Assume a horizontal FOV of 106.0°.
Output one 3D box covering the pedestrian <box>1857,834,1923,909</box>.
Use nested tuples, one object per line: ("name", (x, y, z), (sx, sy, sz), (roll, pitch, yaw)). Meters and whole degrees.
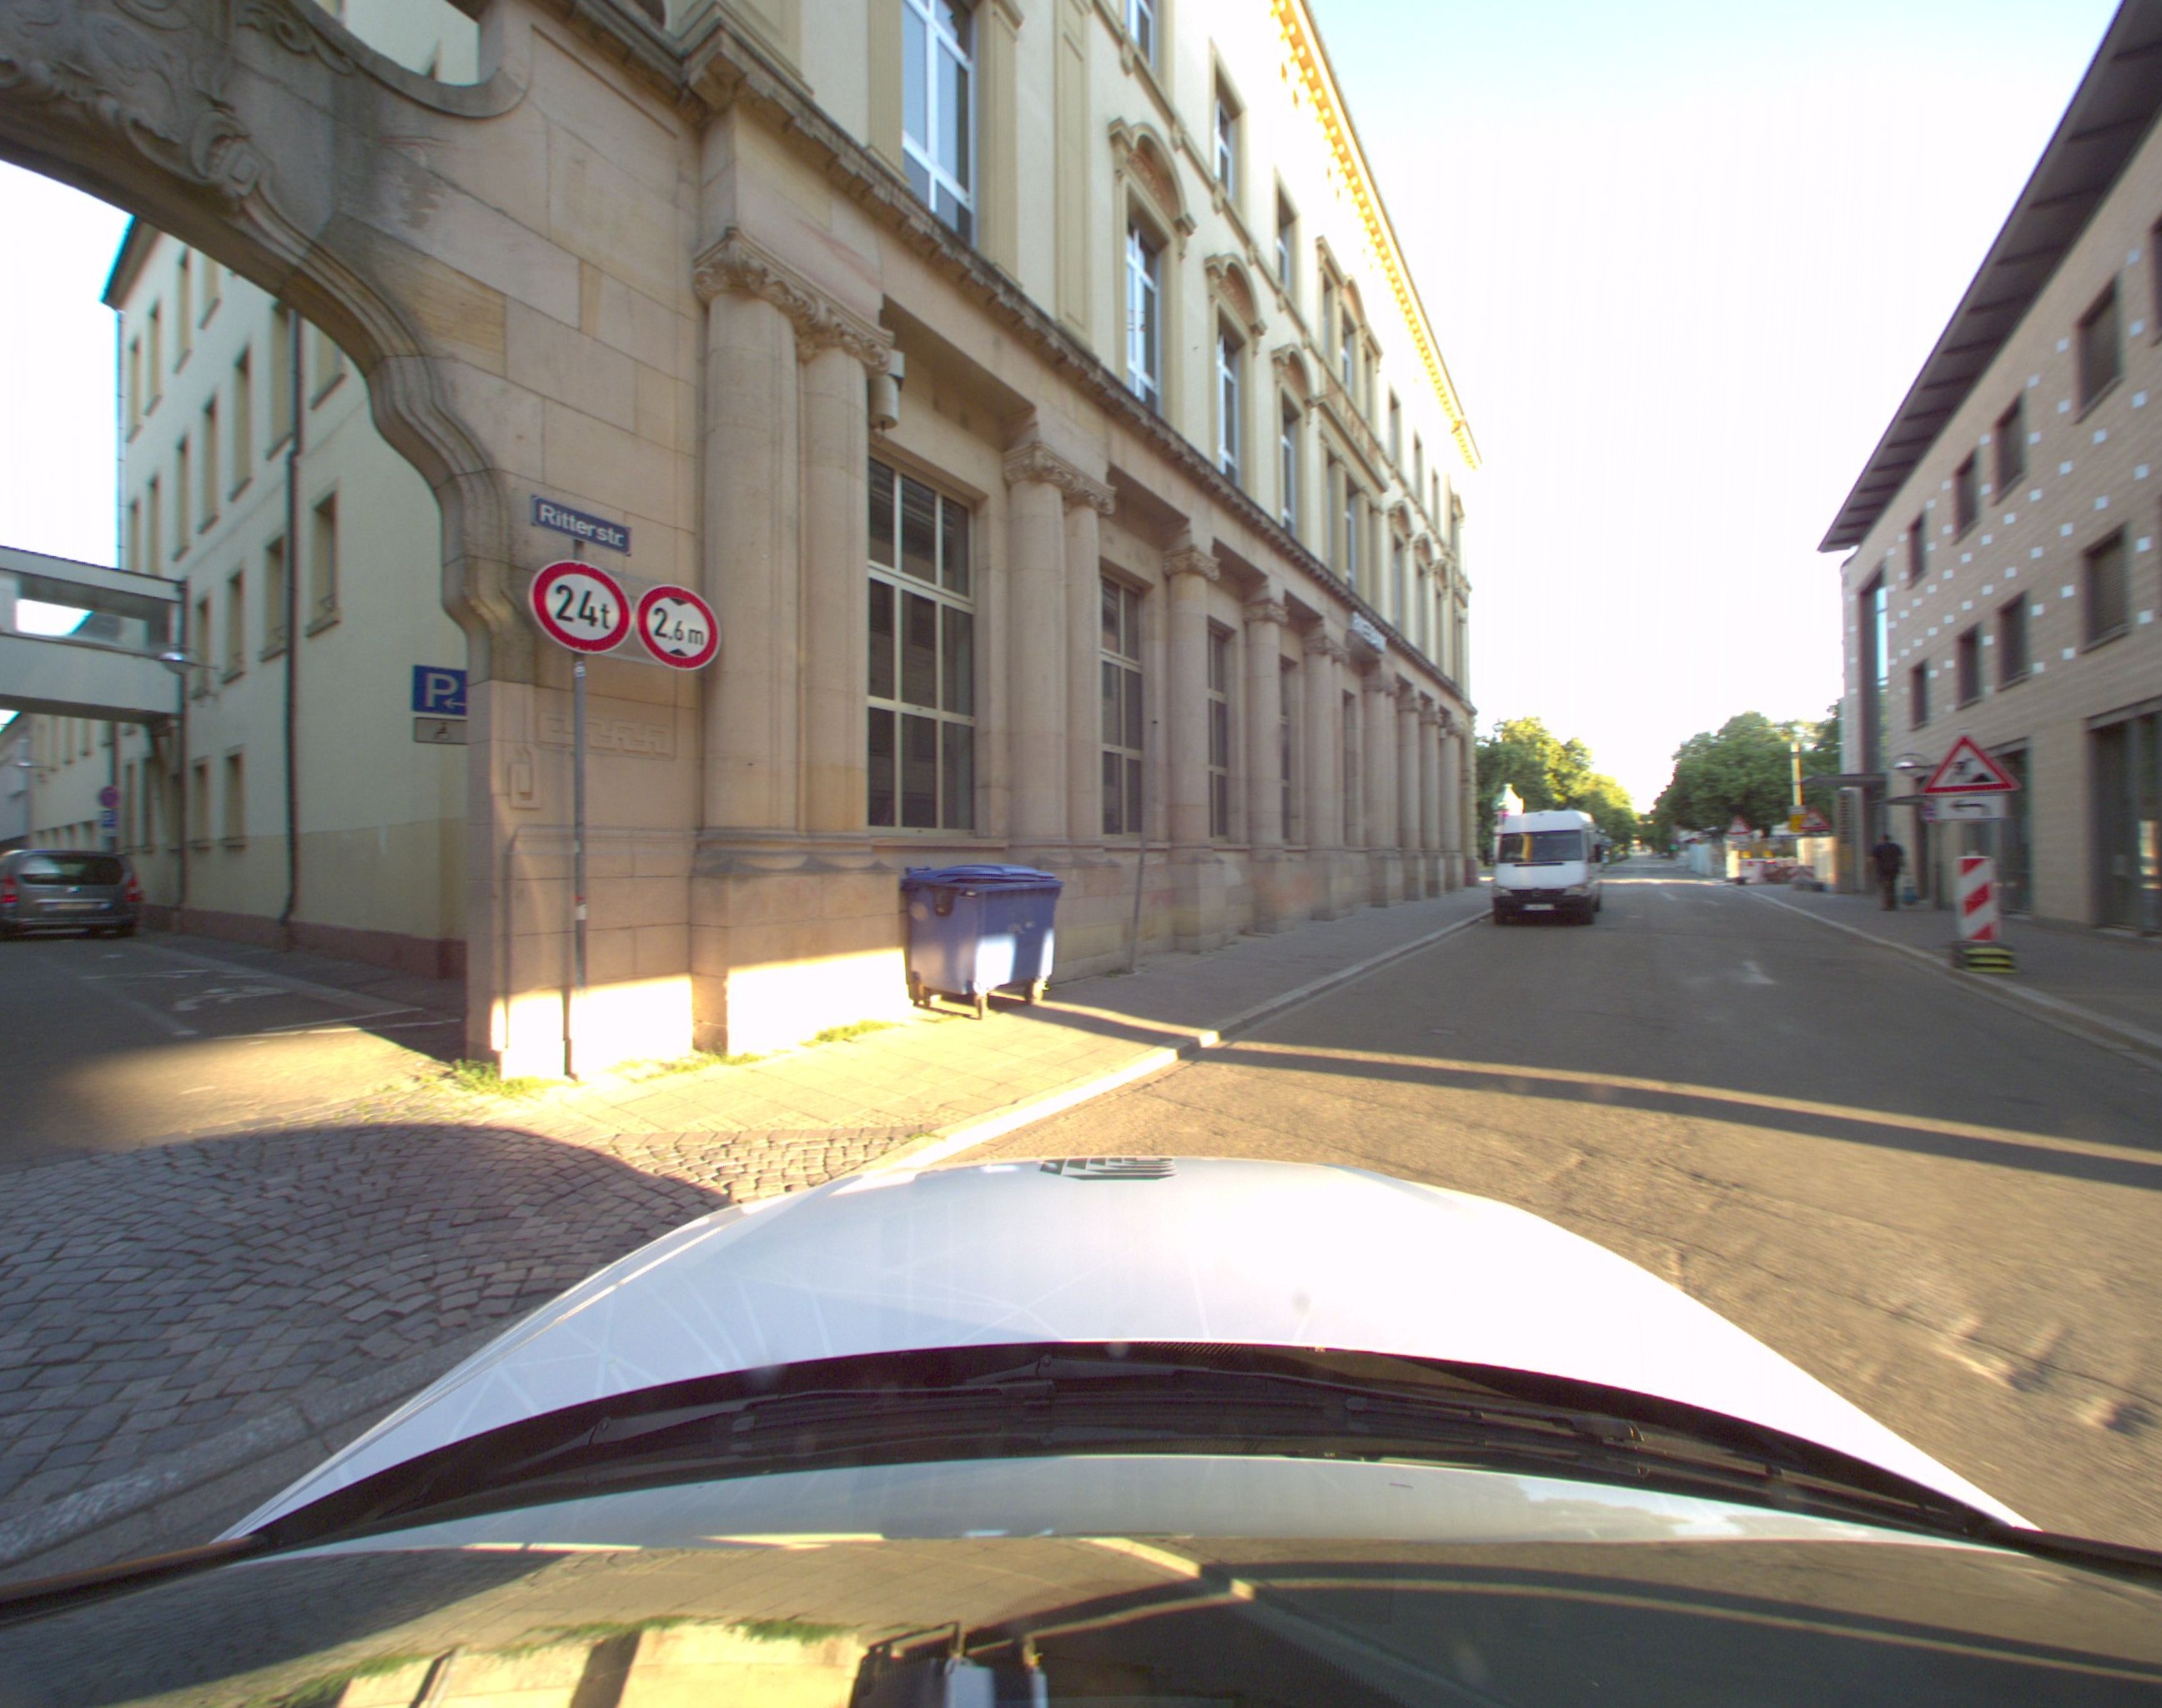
("pedestrian", (18.971, 0.397, 19.123), (0.914, 1.702, 0.874), (-2, -1, 34))

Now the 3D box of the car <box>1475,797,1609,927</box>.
("car", (11.081, 0.173, 19.272), (1.976, 2.512, 6.511), (-5, -2, 35))

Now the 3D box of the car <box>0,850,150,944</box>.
("car", (-21.456, 0.855, 16.999), (4.109, 1.756, 1.872), (0, -3, 31))

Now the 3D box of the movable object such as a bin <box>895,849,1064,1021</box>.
("movable object such as a bin", (-0.964, 0.697, 7.849), (1.063, 1.474, 1.194), (1, 0, 38))
